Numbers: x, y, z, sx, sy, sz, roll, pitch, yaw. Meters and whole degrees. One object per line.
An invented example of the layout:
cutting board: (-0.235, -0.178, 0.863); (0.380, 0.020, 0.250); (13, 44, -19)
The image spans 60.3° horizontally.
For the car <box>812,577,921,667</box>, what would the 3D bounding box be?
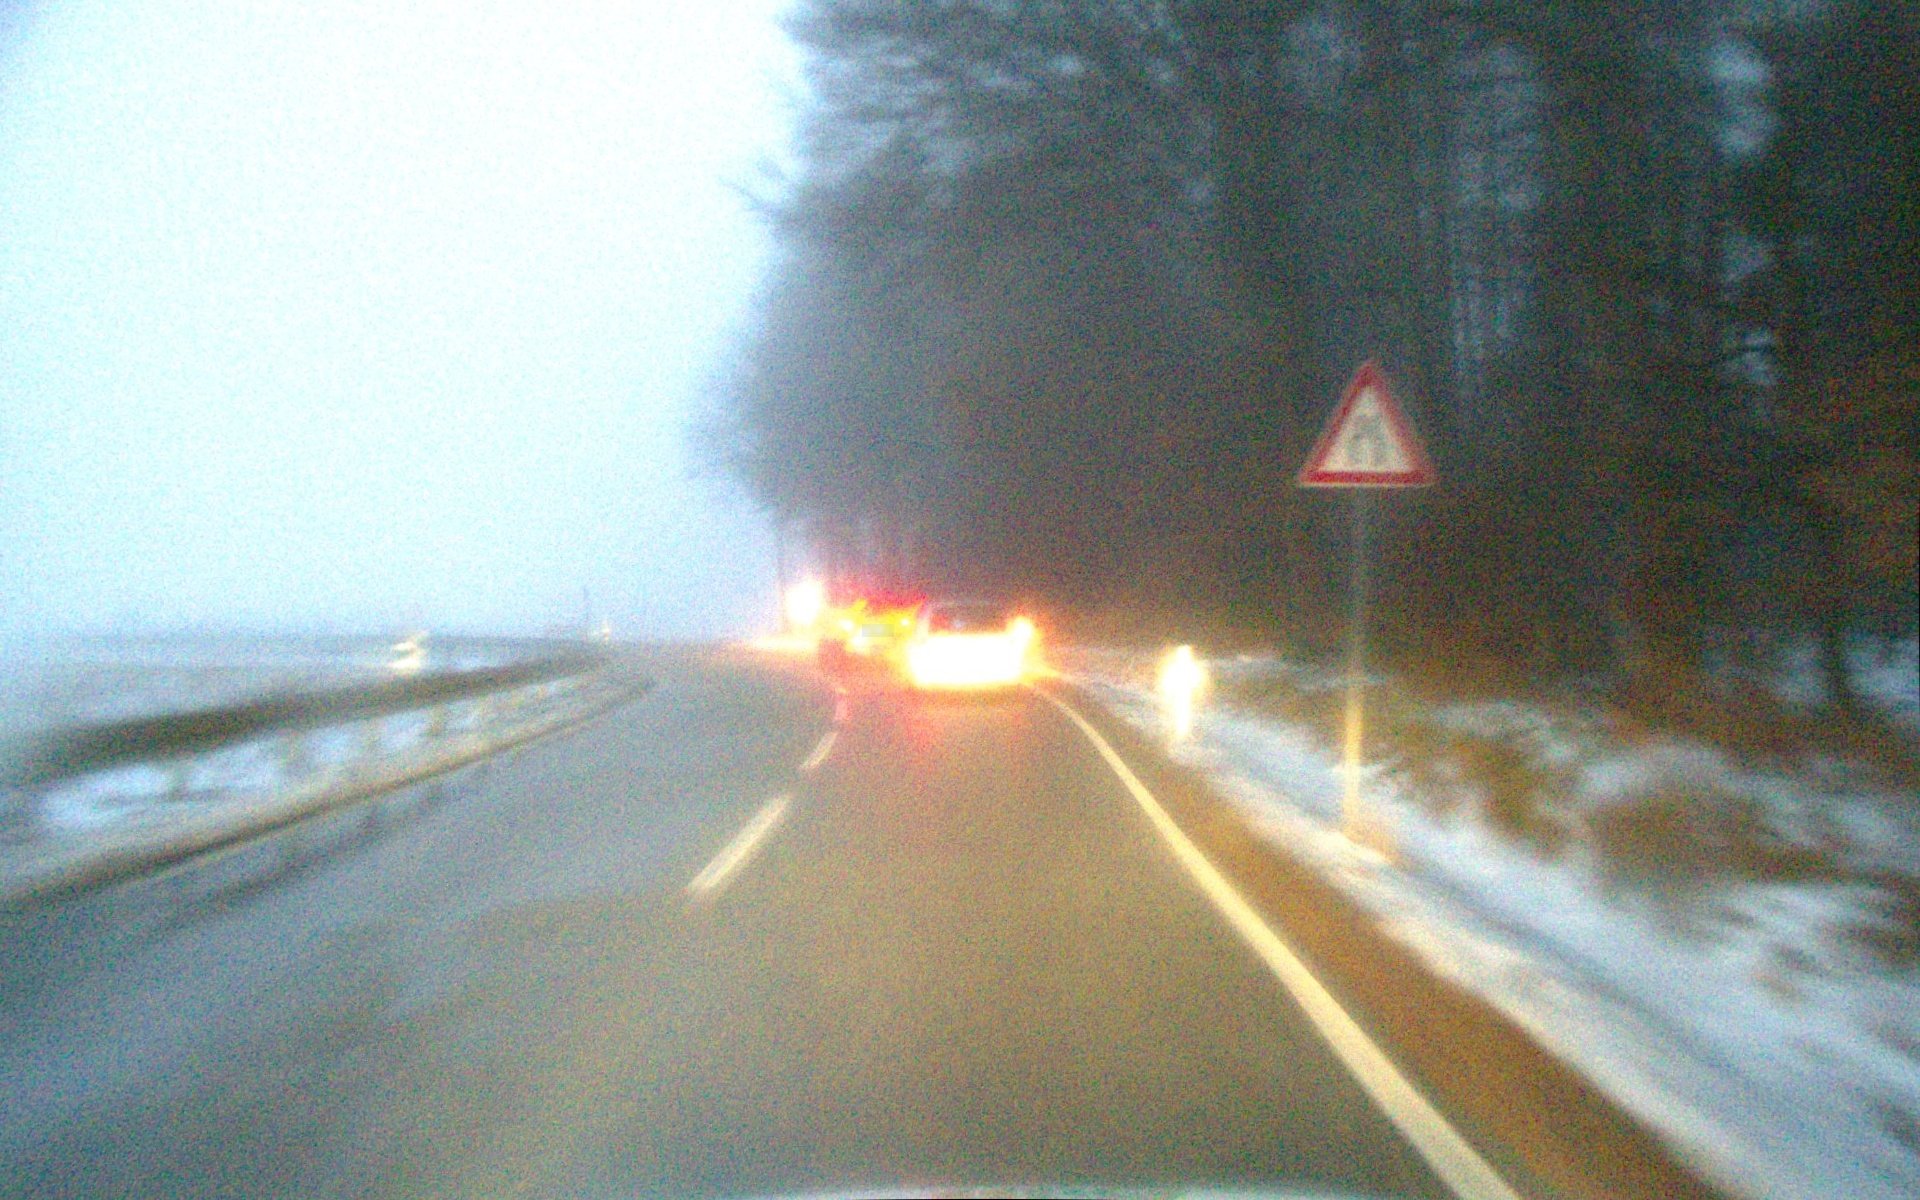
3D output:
car: (-2.134, 0.455, 36.778); (1.957, 1.814, 3.992); (2, 0, -9)

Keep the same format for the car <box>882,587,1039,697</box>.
car: (-0.082, 0.594, 24.703); (1.908, 1.405, 3.995); (3, -1, -5)
